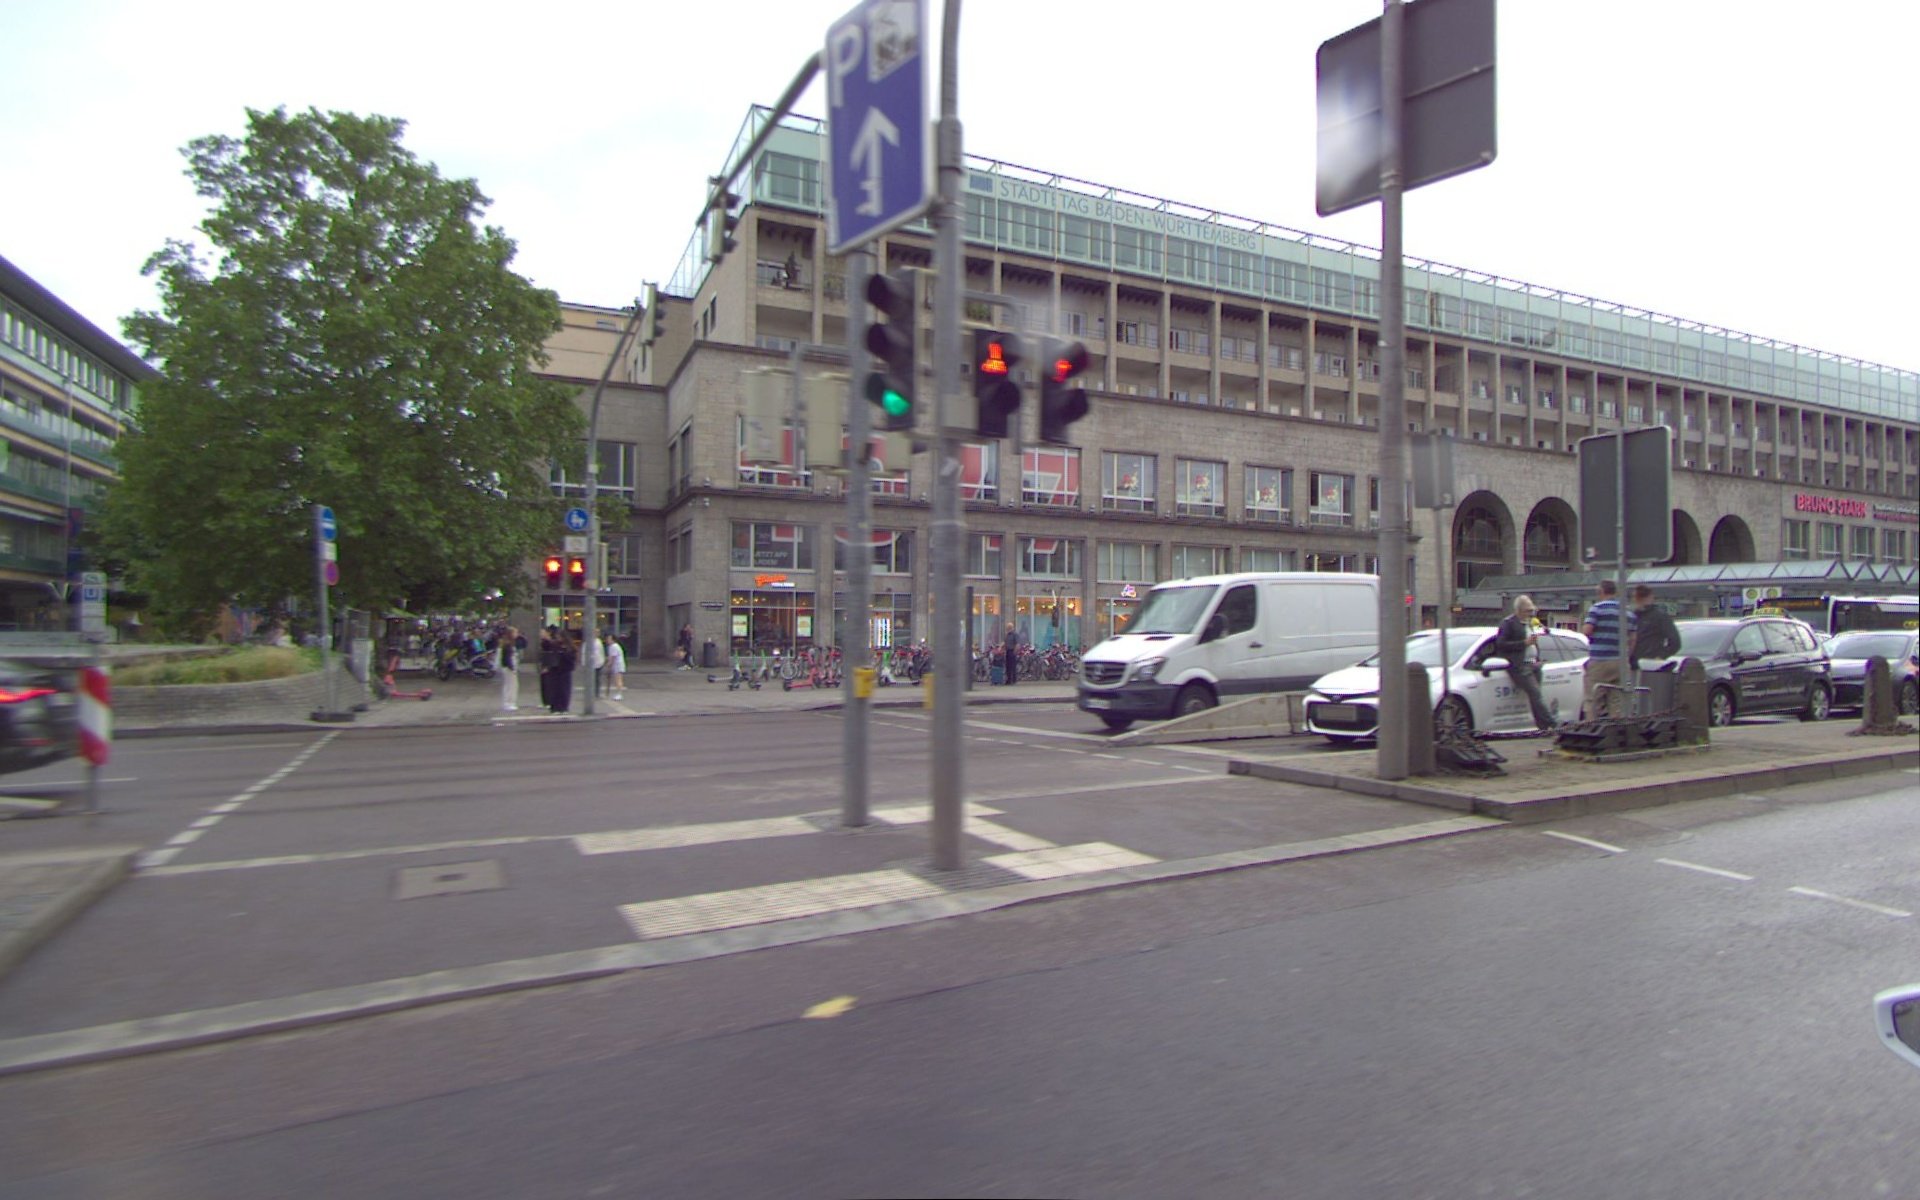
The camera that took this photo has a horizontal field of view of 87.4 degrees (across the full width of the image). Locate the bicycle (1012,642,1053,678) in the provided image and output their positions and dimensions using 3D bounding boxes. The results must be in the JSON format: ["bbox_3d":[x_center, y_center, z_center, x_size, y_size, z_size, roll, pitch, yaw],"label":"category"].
[{"bbox_3d":[2.798,2.306,38.918,0.673,1.343,1.656,1,-1,-35],"label":"bicycle"}]

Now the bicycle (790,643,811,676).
[{"bbox_3d":[-5.688,2.118,35.763,0.693,1.071,1.616,0,0,-10],"label":"bicycle"}]

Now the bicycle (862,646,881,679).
[{"bbox_3d":[-3.199,2.248,36.328,0.436,1.071,1.614,0,0,-14],"label":"bicycle"}]

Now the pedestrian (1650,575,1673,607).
[{"bbox_3d":[35.099,-0.450,50.252,0.746,1.588,0.628,0,0,-24],"label":"pedestrian"}]

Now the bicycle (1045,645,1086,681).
[{"bbox_3d":[4.158,2.467,39.767,0.673,1.343,1.694,1,-1,-35],"label":"bicycle"}]

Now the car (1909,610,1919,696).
[{"bbox_3d":[21.536,1.059,20.324,4.622,1.712,1.923,1,-3,-27],"label":"car"}]

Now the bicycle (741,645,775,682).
[{"bbox_3d":[-6.871,2.140,34.152,0.672,1.146,1.476,0,0,-31],"label":"bicycle"}]

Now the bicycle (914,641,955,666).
[{"bbox_3d":[-0.942,1.950,36.951,1.369,0.862,0.673,0,0,-38],"label":"bicycle"}]

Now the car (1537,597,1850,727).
[{"bbox_3d":[11.092,0.899,15.160,4.622,1.712,1.923,1,-3,-27],"label":"car"}]

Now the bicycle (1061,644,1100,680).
[{"bbox_3d":[4.780,2.456,40.083,0.575,1.343,1.694,1,-1,-35],"label":"bicycle"}]

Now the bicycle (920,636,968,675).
[{"bbox_3d":[-0.626,2.163,39.186,1.741,1.454,0.680,0,0,21],"label":"bicycle"}]

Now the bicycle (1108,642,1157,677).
[{"bbox_3d":[6.920,2.373,40.453,0.586,1.343,2.192,1,-1,-35],"label":"bicycle"}]

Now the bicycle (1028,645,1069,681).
[{"bbox_3d":[3.444,2.457,39.341,0.673,1.343,1.717,1,-1,-35],"label":"bicycle"}]

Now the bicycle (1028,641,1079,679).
[{"bbox_3d":[3.242,2.083,35.049,0.590,1.196,2.076,0,0,-33],"label":"bicycle"}]

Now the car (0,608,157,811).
[{"bbox_3d":[-9.315,0.936,8.228,3.994,1.631,1.807,0,-3,-29],"label":"car"}]

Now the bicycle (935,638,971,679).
[{"bbox_3d":[-0.270,2.167,37.727,0.561,1.454,1.473,0,0,-37],"label":"bicycle"}]

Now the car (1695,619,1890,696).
[{"bbox_3d":[20.115,1.364,24.256,4.622,1.712,1.923,1,-3,-27],"label":"car"}]

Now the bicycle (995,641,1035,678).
[{"bbox_3d":[2.090,2.277,38.541,0.673,1.343,1.656,1,-1,-35],"label":"bicycle"}]

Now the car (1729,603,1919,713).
[{"bbox_3d":[15.814,0.988,17.576,4.622,1.712,1.923,1,-3,-27],"label":"car"}]

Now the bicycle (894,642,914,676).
[{"bbox_3d":[-2.048,2.133,36.645,0.426,1.125,1.604,0,0,-15],"label":"bicycle"}]

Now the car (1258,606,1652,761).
[{"bbox_3d":[6.288,0.919,12.689,4.779,1.642,2.008,0,-1,-27],"label":"car"}]

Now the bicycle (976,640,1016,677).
[{"bbox_3d":[1.341,2.220,38.129,0.673,1.343,1.656,1,-1,-35],"label":"bicycle"}]

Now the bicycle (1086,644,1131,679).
[{"bbox_3d":[5.994,2.463,40.556,0.673,1.343,1.915,1,-1,-35],"label":"bicycle"}]

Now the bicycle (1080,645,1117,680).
[{"bbox_3d":[5.501,2.468,40.008,0.566,1.343,1.551,1,-1,-35],"label":"bicycle"}]

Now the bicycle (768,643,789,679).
[{"bbox_3d":[-6.438,2.139,35.515,0.669,1.146,1.485,0,0,-13],"label":"bicycle"}]

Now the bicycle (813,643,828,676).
[{"bbox_3d":[-5.001,2.119,35.924,0.500,1.071,1.616,0,0,-10],"label":"bicycle"}]

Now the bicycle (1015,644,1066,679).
[{"bbox_3d":[2.763,2.109,34.718,0.590,1.091,2.076,0,0,-33],"label":"bicycle"}]

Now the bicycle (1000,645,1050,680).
[{"bbox_3d":[2.193,2.119,34.354,0.590,1.070,2.076,0,0,-33],"label":"bicycle"}]

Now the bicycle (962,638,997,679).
[{"bbox_3d":[0.723,2.169,37.743,0.509,1.454,1.473,0,0,-37],"label":"bicycle"}]

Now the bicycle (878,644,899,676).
[{"bbox_3d":[-2.619,2.158,36.580,0.448,1.071,1.614,0,0,-16],"label":"bicycle"}]

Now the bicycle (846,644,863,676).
[{"bbox_3d":[-3.792,2.150,36.133,0.489,1.071,1.616,0,0,-11],"label":"bicycle"}]

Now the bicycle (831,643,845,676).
[{"bbox_3d":[-4.385,2.120,36.036,0.417,1.071,1.616,0,0,-10],"label":"bicycle"}]
